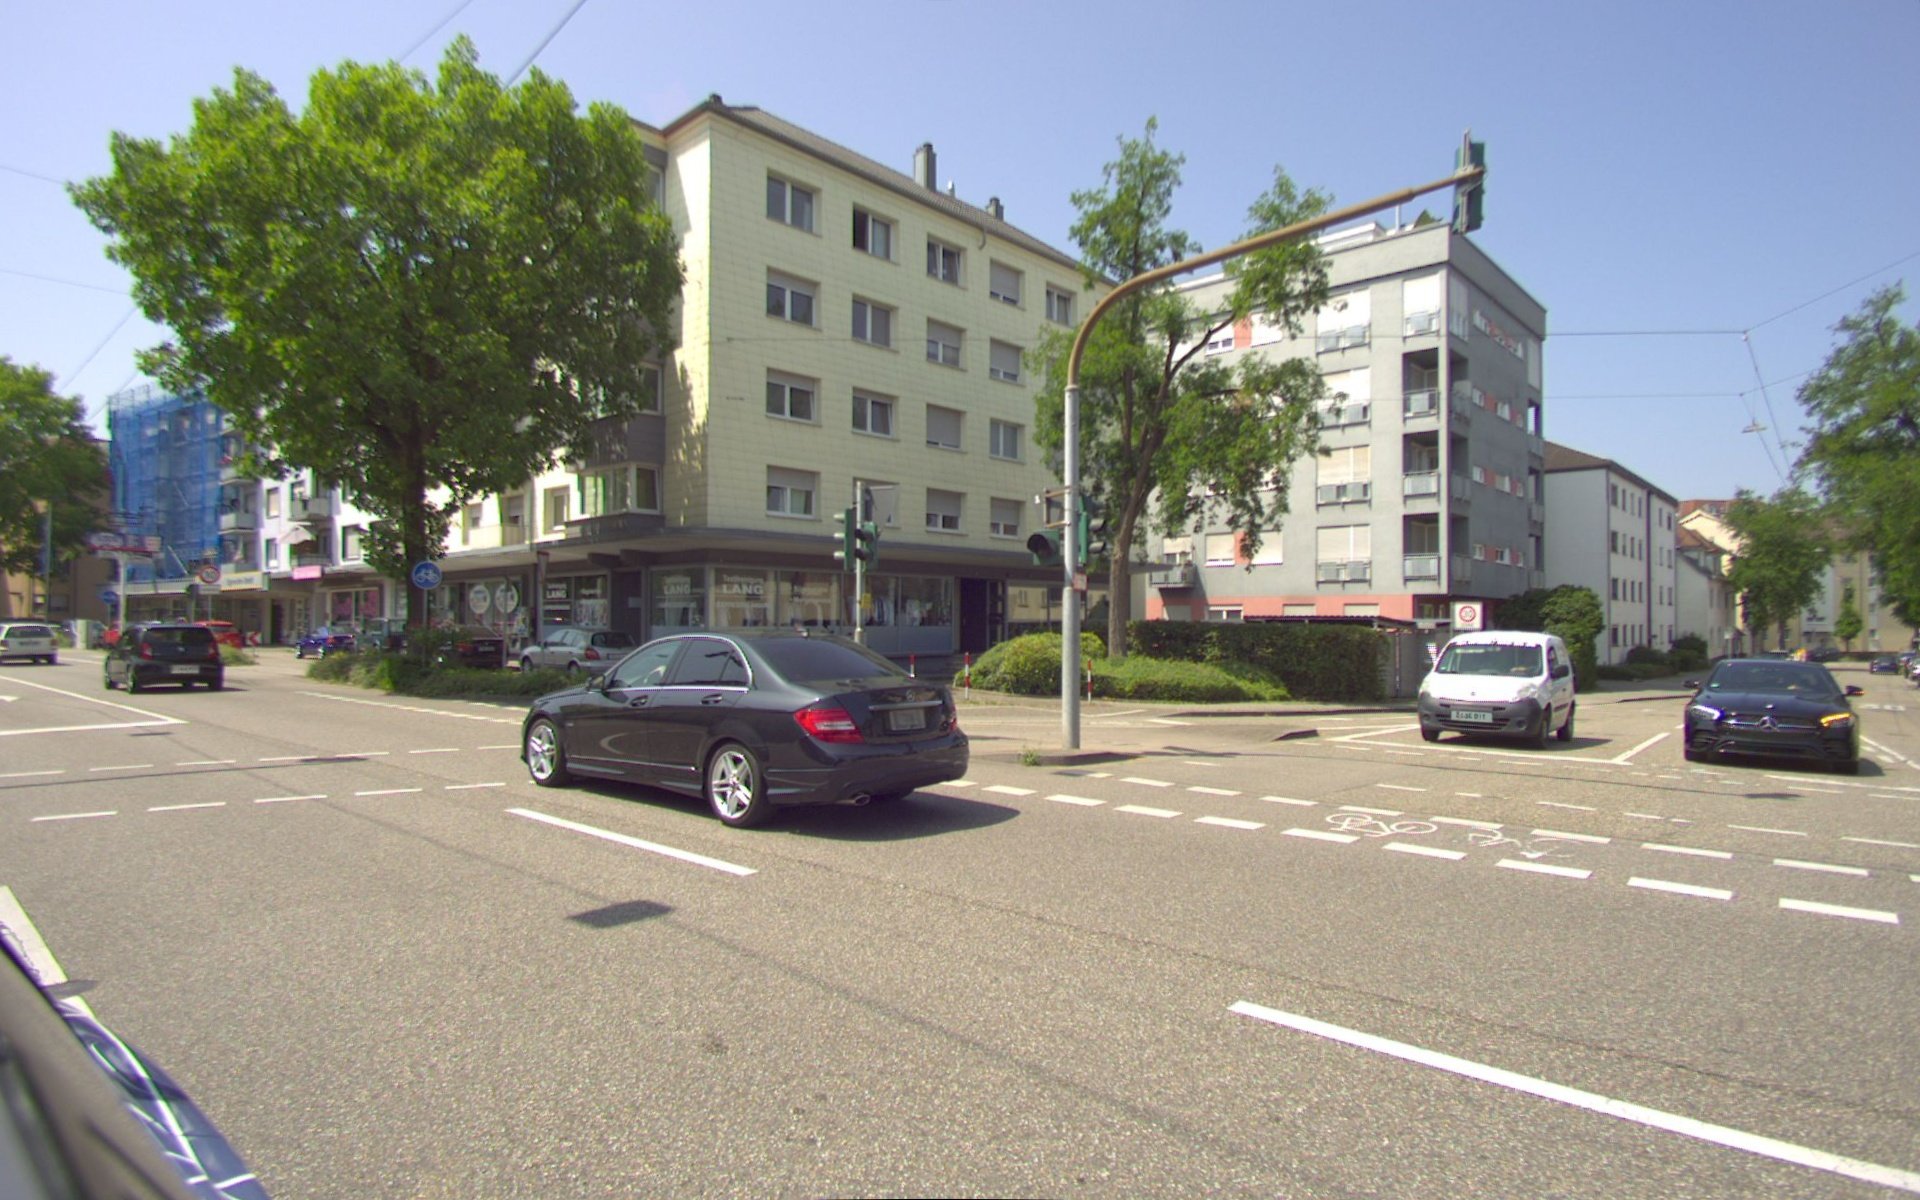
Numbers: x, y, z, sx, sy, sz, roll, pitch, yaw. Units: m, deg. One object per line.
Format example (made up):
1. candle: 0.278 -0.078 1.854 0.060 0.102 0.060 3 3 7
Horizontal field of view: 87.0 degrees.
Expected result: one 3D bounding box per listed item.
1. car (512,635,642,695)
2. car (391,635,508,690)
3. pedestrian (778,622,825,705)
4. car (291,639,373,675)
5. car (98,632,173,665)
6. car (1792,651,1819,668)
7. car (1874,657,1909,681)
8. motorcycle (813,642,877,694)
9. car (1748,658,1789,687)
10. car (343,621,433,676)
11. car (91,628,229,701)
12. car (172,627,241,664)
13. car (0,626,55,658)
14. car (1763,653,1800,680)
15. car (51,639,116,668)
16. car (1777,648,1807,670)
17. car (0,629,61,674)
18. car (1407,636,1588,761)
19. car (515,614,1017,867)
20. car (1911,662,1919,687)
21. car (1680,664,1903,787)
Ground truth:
1. car: -10.199 1.671 26.848 3.938 1.470 1.566 -2 -2 41
2. car: -16.218 1.922 32.039 4.837 1.581 1.605 -2 -2 41
3. pedestrian: -3.527 1.417 22.499 0.742 1.773 0.620 -8 -7 40
4. car: -24.647 2.210 39.698 3.859 1.296 1.682 -1 -2 41
5. car: -39.684 2.307 48.705 4.328 1.531 1.889 -2 -3 38
6. car: 79.876 5.606 95.582 3.203 1.392 1.550 0 -1 -42
7. car: 65.502 4.837 71.188 1.713 1.417 4.025 -2 -1 42
8. motorcycle: -3.395 1.983 29.957 0.714 1.431 1.894 0 0 42
9. car: 52.471 4.663 65.657 3.203 1.684 1.550 0 -1 -42
10. car: -20.451 1.720 36.149 3.857 1.853 1.622 -2 -2 41
11. car: -17.550 1.405 22.159 3.706 1.467 1.599 -3 -5 40
12. car: -31.407 1.855 42.151 3.633 1.479 1.617 -2 -3 42
13. car: -55.700 2.483 60.075 4.321 1.819 1.892 -2 -3 33
14. car: 57.283 4.631 70.567 3.203 1.684 1.550 0 -1 -42
15. car: -47.766 2.872 55.110 4.328 1.531 1.889 -2 -3 38
16. car: 72.774 5.153 88.496 3.203 1.684 1.550 0 -1 -42
17. car: -33.825 1.802 36.245 4.628 1.530 1.796 -2 -3 41
18. car: 8.735 1.528 16.319 1.892 1.748 3.648 -1 -5 39
19. car: -1.773 0.953 8.372 4.314 1.572 1.738 -2 -3 40
20. car: 62.947 4.821 65.538 1.836 1.417 4.269 -2 -1 42
21. car: 11.658 1.672 14.420 2.113 1.412 4.561 -1 -5 37
